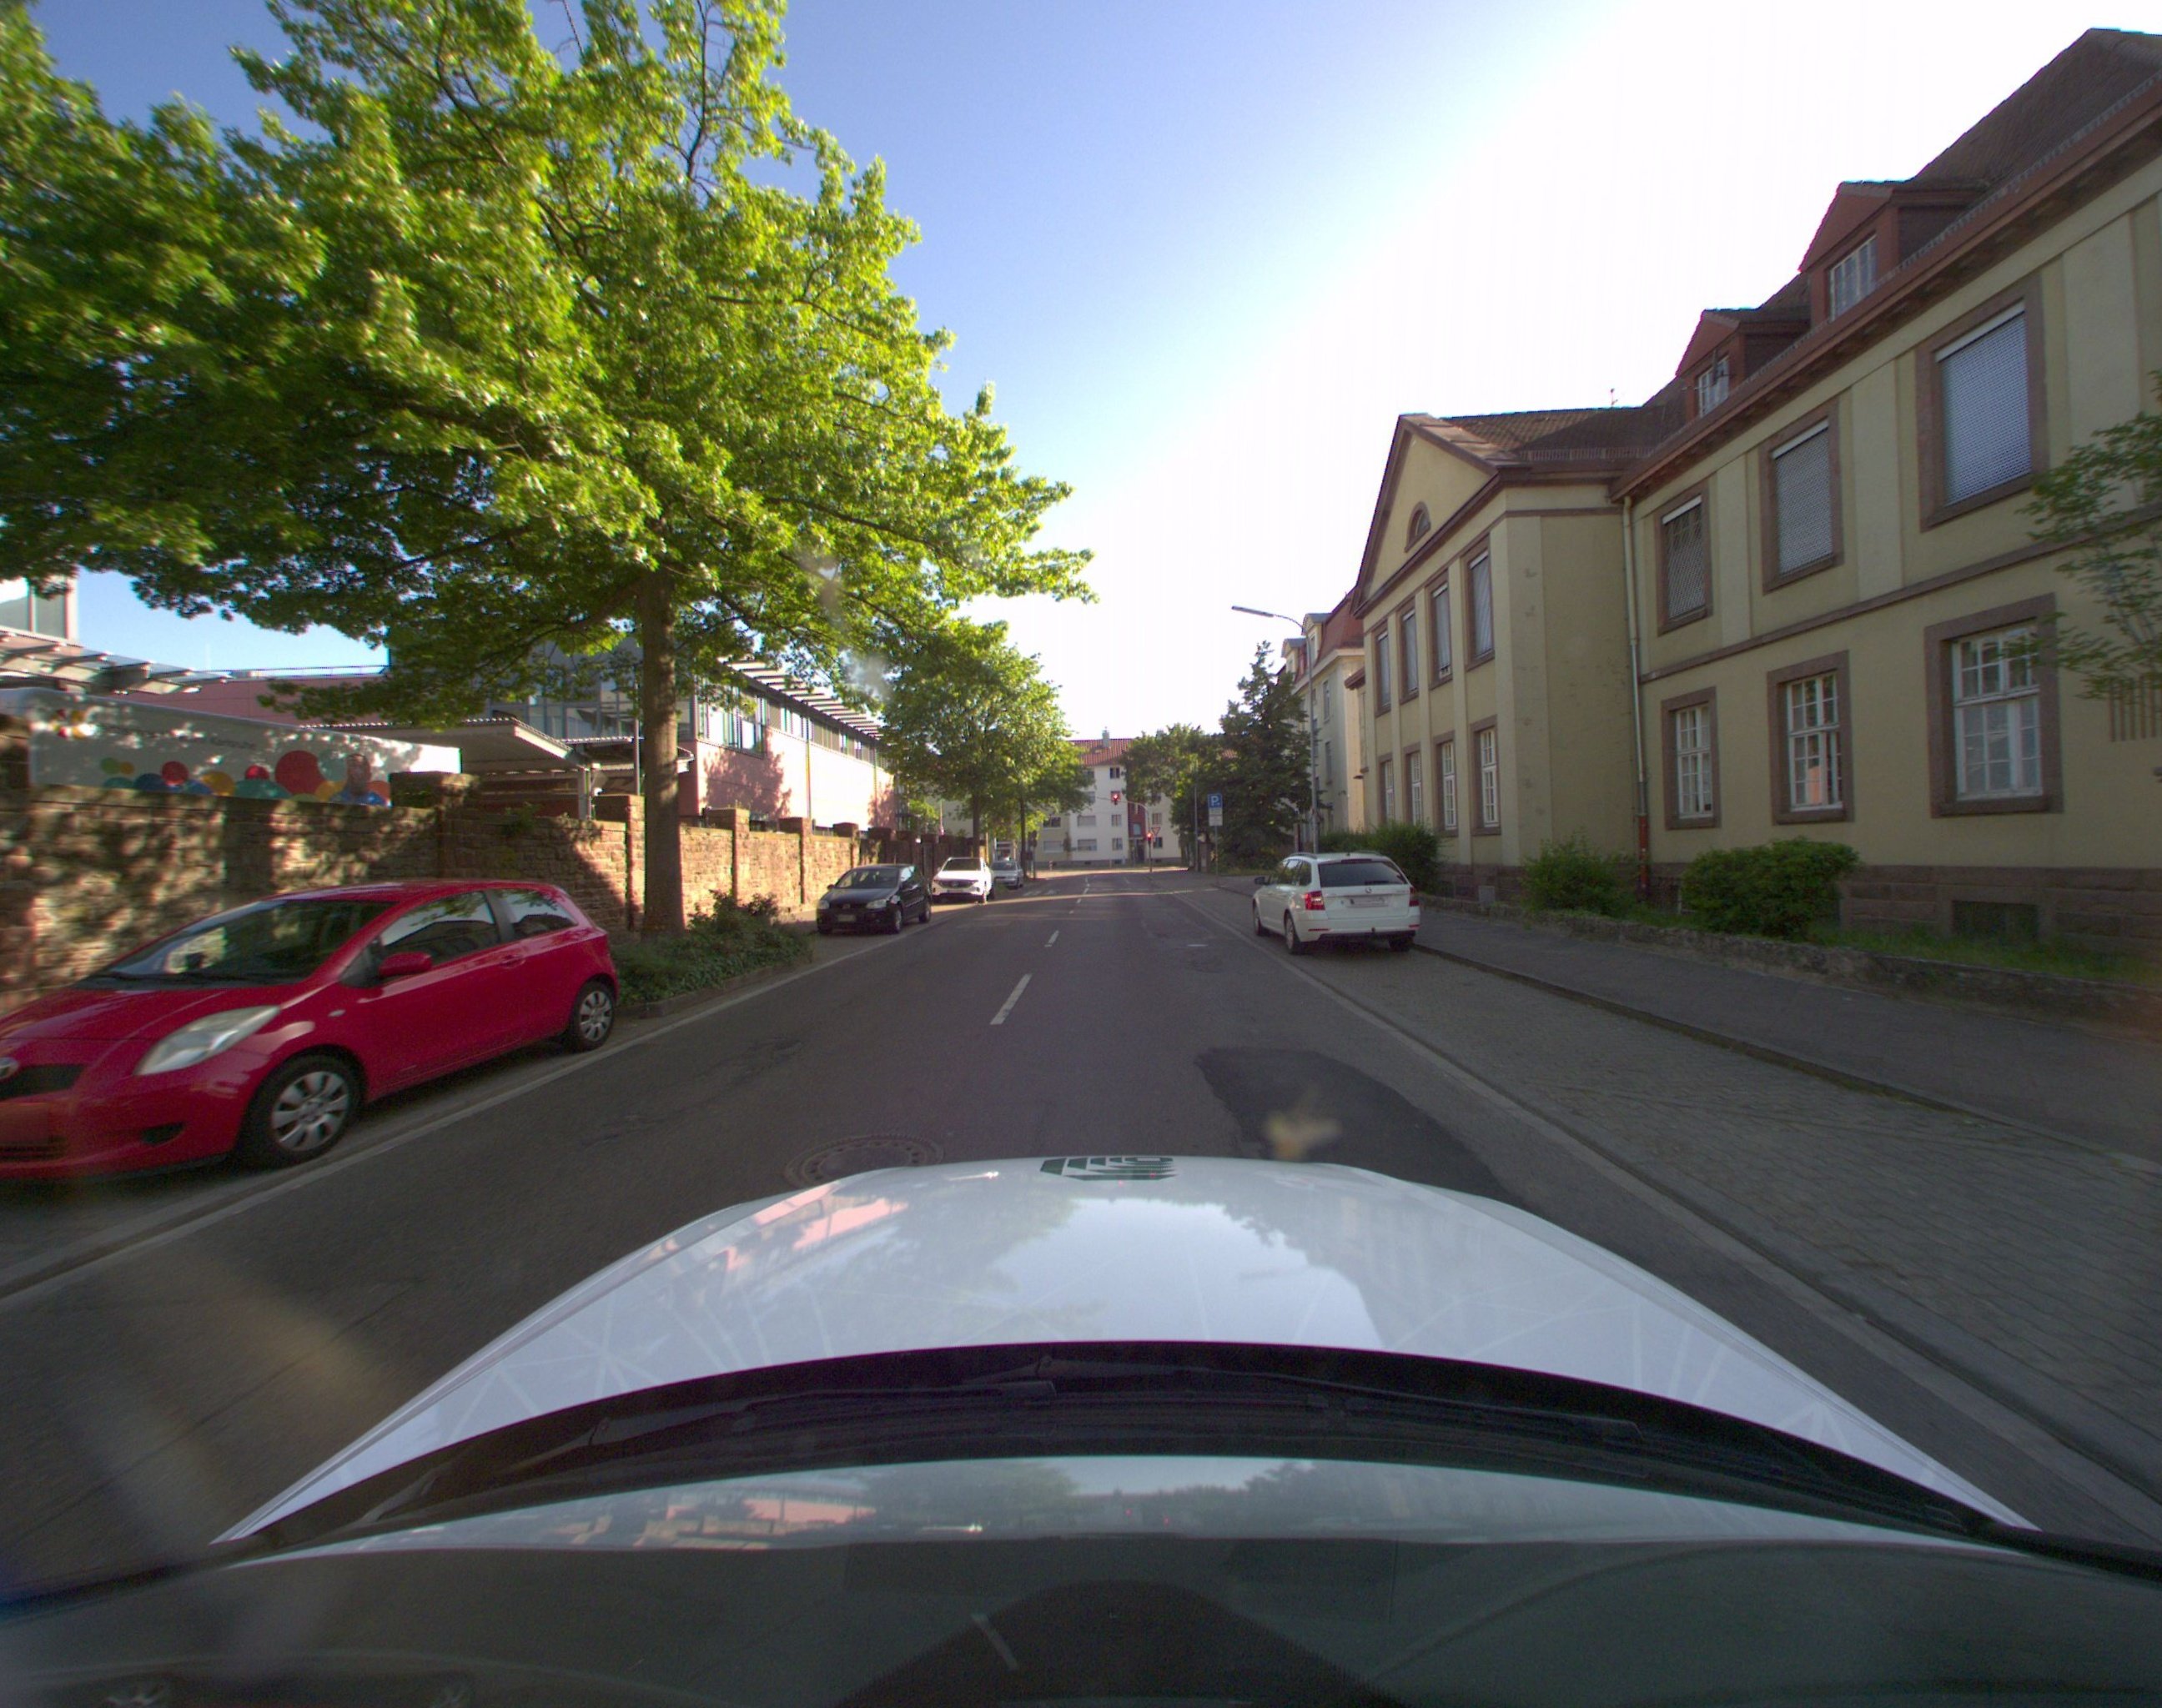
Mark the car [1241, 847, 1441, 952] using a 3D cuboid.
[{"bbox_3d":[3.913,0.614,13.112,1.826,1.323,4.497,-2,0,1],"label":"car"}]

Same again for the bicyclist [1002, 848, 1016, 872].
[{"bbox_3d":[-5.428,0.453,61.327,0.793,1.757,0.605,-1,0,-40],"label":"bicyclist"}]

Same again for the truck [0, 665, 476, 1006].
[{"bbox_3d":[-13.010,-0.201,11.816,2.722,3.711,7.431,0,0,2],"label":"truck"}]

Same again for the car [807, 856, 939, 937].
[{"bbox_3d":[-4.634,0.887,18.748,1.730,1.592,4.110,-1,0,3],"label":"car"}]

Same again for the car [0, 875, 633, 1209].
[{"bbox_3d":[-5.011,0.925,5.670,1.602,1.459,3.710,0,0,2],"label":"car"}]

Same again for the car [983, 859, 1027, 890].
[{"bbox_3d":[-3.795,0.996,41.368,1.720,1.475,4.480,0,0,2],"label":"car"}]

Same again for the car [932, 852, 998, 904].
[{"bbox_3d":[-4.151,0.812,29.758,1.714,1.683,4.351,-2,0,0],"label":"car"}]
